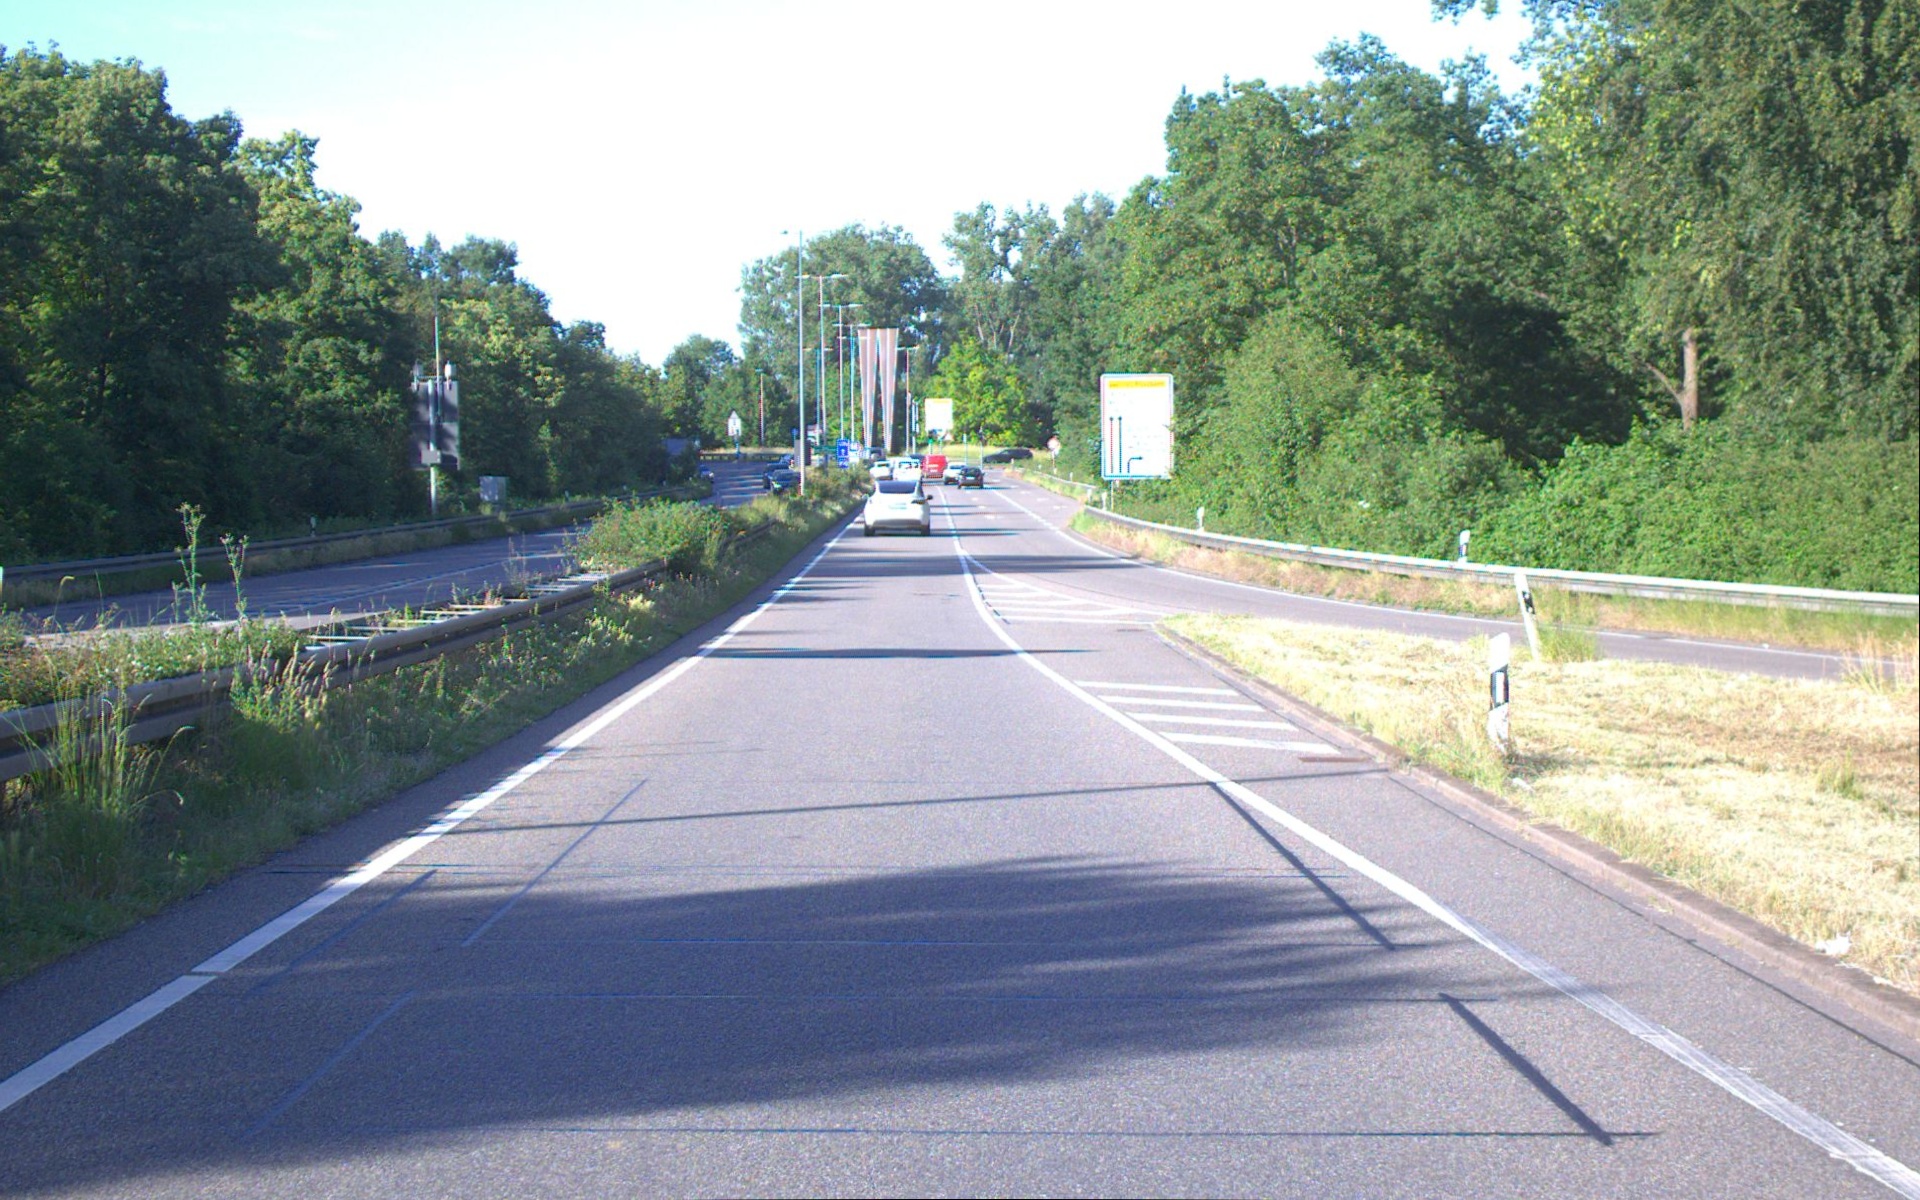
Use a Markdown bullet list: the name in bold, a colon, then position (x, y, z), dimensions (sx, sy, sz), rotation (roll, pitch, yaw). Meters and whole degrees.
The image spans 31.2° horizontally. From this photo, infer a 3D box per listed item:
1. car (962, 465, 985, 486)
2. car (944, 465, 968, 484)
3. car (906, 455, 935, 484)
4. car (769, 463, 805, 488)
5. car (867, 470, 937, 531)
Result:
- **car**: position (0.896, -8.108, 223.636), dimensions (1.388, 1.276, 2.987), rotation (2, 1, -1)
- **car**: position (-0.273, -8.777, 240.605), dimensions (1.624, 1.276, 2.987), rotation (2, 1, -1)
- **car**: position (-2.719, -9.035, 237.591), dimensions (1.993, 1.873, 4.250), rotation (-1, 3, -1)
- **car**: position (-10.012, -7.226, 199.311), dimensions (1.781, 1.398, 4.553), rotation (-1, 3, 1)
- **car**: position (-1.736, -2.957, 101.578), dimensions (1.993, 1.634, 4.129), rotation (-1, 3, -1)
